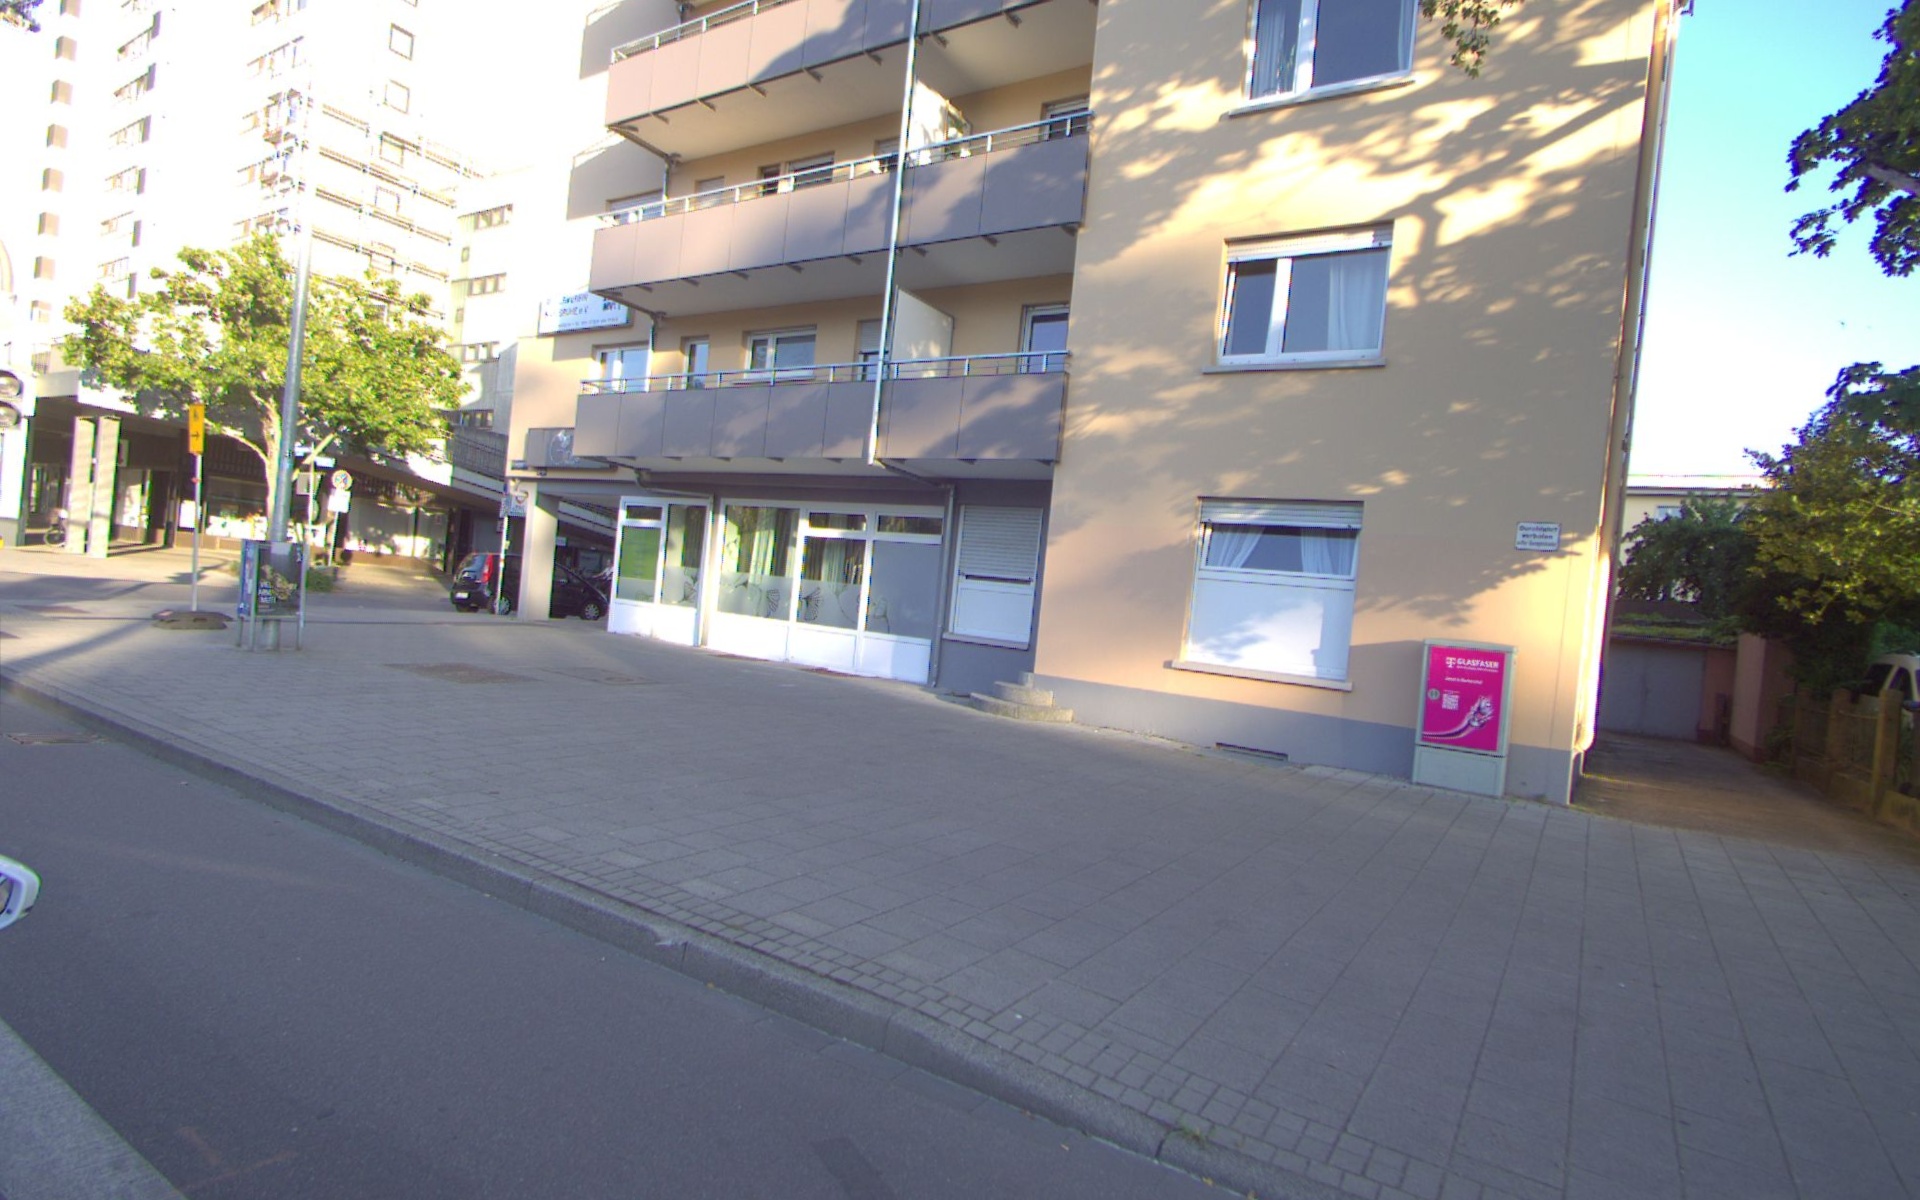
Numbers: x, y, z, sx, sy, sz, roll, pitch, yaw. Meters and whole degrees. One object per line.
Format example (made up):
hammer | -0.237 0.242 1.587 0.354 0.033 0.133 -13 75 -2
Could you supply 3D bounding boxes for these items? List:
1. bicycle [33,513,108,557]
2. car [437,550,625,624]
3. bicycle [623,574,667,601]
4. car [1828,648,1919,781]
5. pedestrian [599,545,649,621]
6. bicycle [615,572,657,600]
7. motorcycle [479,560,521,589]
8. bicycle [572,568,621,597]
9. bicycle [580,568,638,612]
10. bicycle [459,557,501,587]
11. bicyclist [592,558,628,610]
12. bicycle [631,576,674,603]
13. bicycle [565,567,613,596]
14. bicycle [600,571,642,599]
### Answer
bicycle | -28.856 -2.101 32.649 1.984 1.162 0.692 6 -3 13
car | -10.718 -0.293 25.352 1.680 1.605 4.037 2 -1 36
bicycle | -15.073 -0.598 48.100 1.940 1.086 0.583 6 -3 21
car | 14.795 1.735 14.851 1.794 1.780 4.513 7 2 27
pedestrian | -8.632 -0.436 25.844 0.637 1.851 0.835 6 1 34
bicycle | -15.318 -0.658 47.532 1.942 1.086 0.583 5 -3 26
motorcycle | -19.409 -1.081 42.457 1.848 1.086 0.646 5 -3 35
bicycle | -16.737 -0.804 46.325 1.939 1.086 0.584 6 -3 9
bicycle | -12.064 -0.336 34.600 0.642 1.326 1.783 6 0 32
bicycle | -20.105 -1.191 42.102 1.946 1.086 0.581 5 -3 35
bicyclist | -12.039 -0.551 34.608 0.642 1.702 0.818 6 1 32
bicycle | -14.897 -0.522 48.722 1.940 1.086 0.583 6 -3 21
bicycle | -16.926 -0.833 45.881 1.939 1.086 0.584 6 -3 13
bicycle | -15.891 -0.701 47.178 1.943 1.086 0.582 5 -3 29
